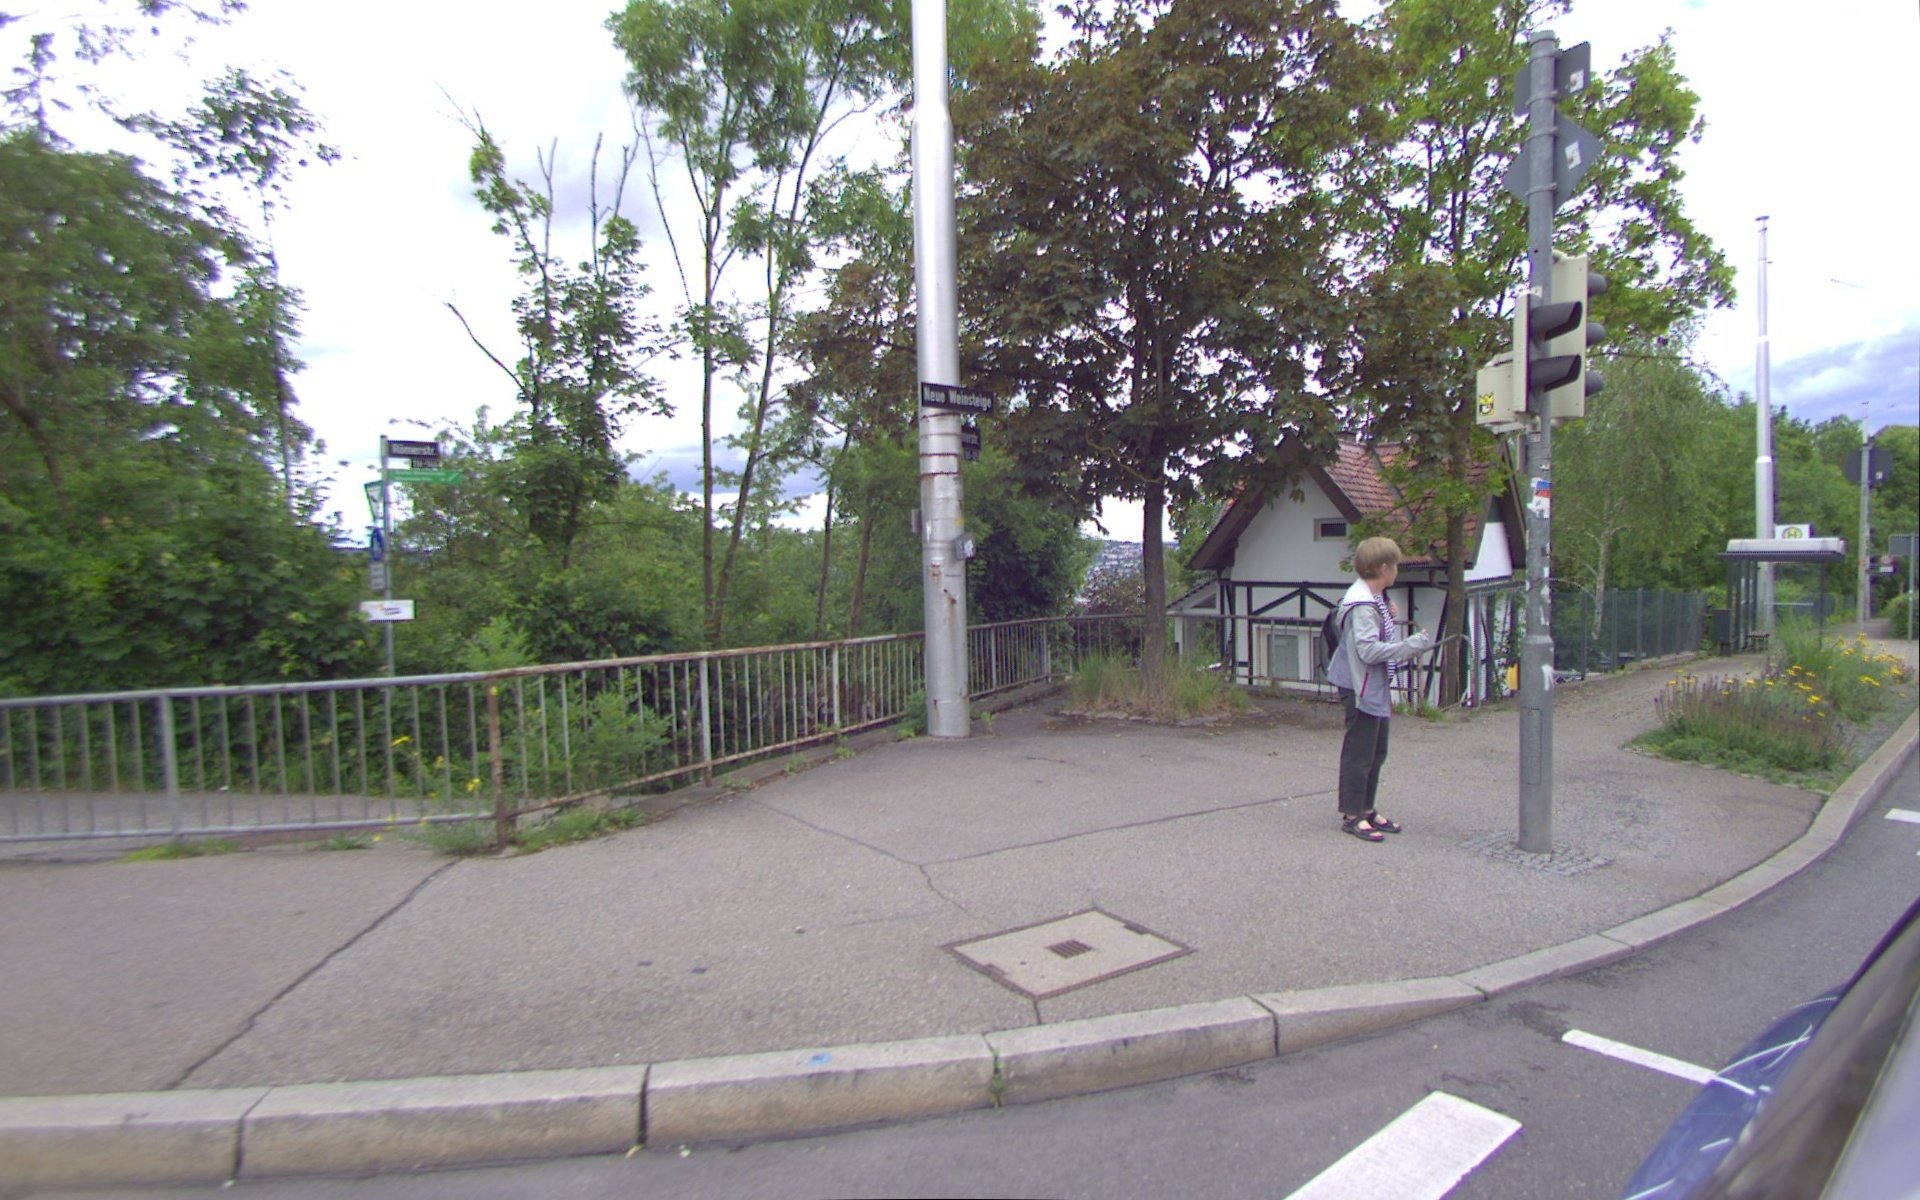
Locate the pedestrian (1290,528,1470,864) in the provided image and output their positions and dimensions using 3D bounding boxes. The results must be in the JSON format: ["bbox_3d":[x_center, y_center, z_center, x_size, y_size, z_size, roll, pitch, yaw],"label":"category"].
[{"bbox_3d":[2.306,0.471,5.572,0.682,1.709,0.620,-1,2,-36],"label":"pedestrian"}]
